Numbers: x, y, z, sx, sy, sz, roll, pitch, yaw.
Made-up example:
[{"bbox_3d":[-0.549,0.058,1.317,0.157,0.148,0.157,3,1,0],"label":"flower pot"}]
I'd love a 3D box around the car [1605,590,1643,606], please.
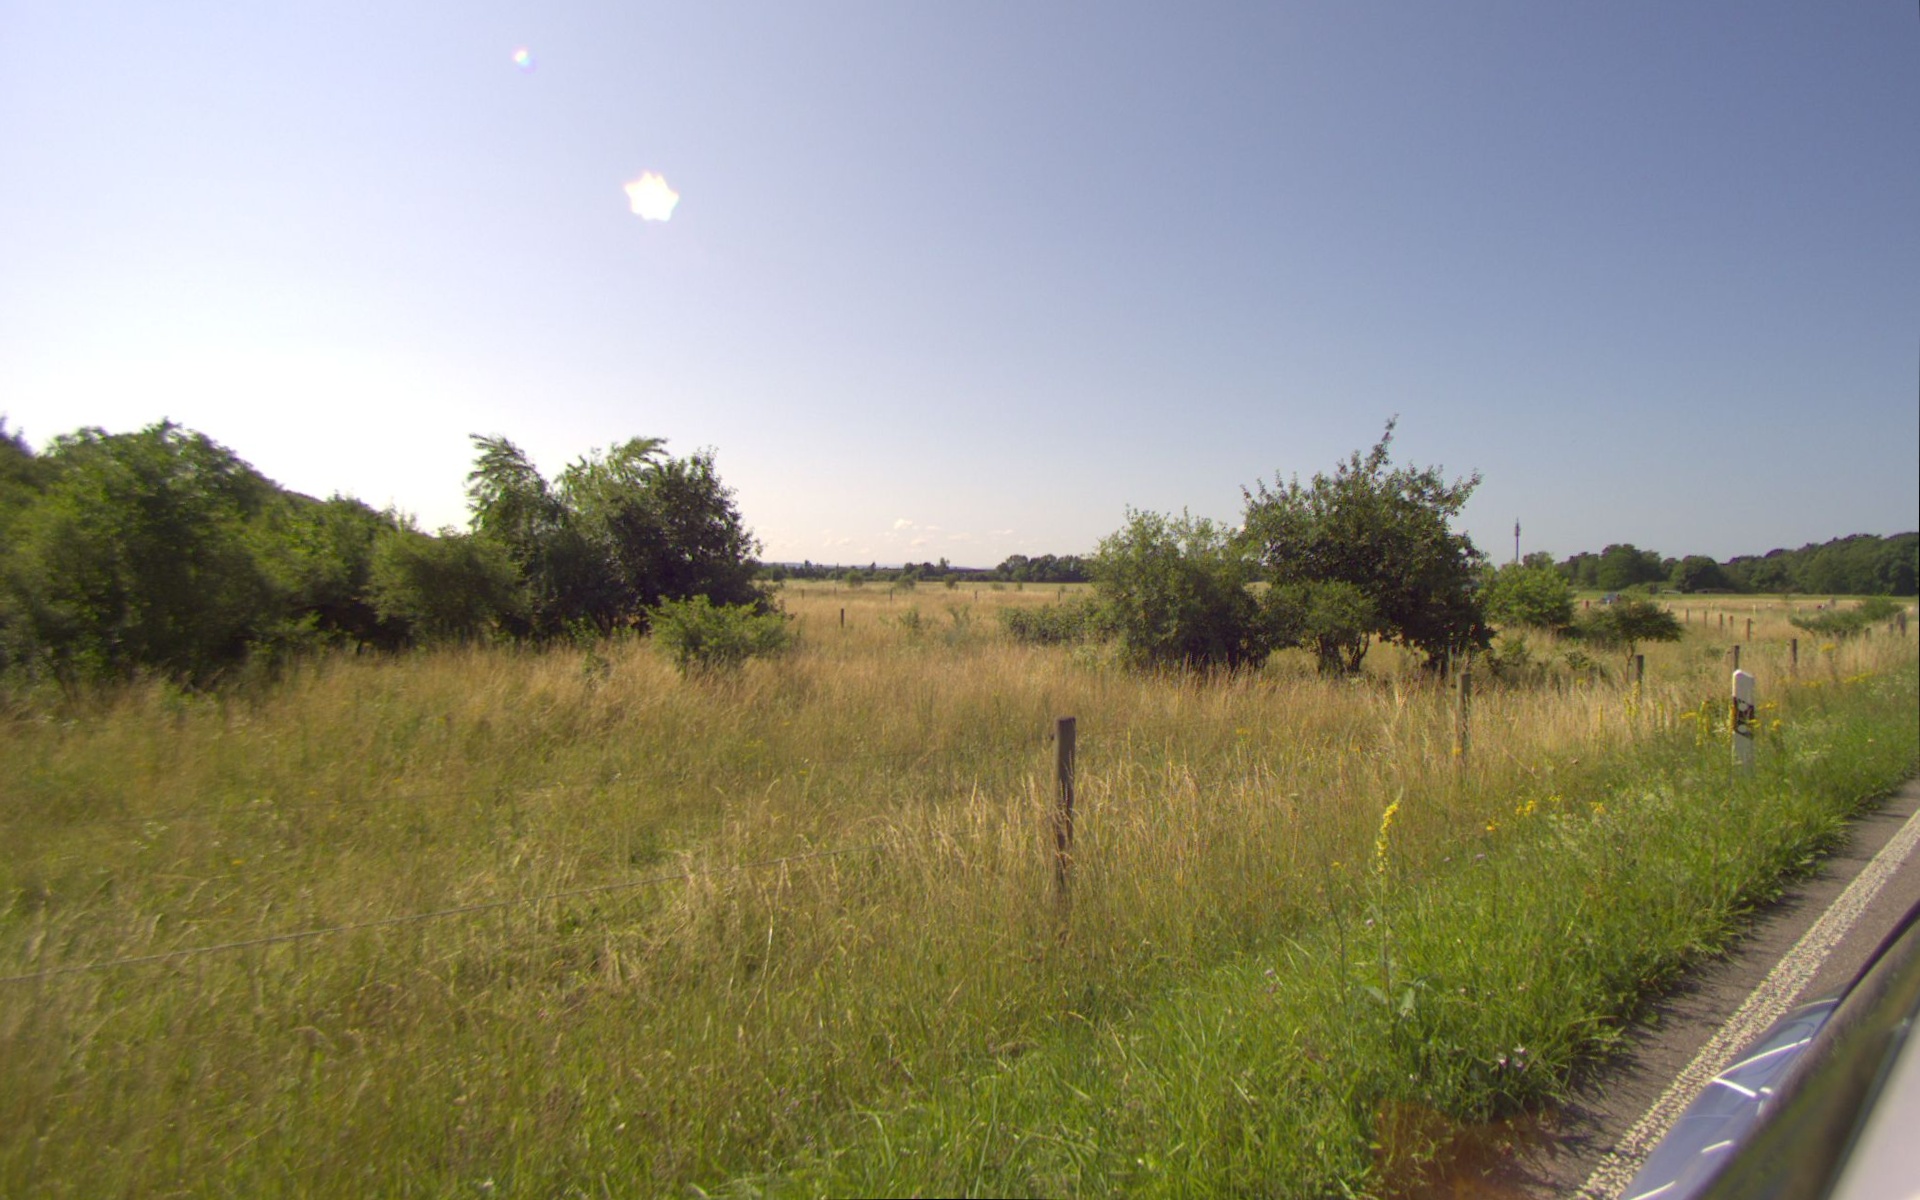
[{"bbox_3d":[72.637,-0.195,110.758,1.760,1.653,4.150,2,0,8],"label":"car"}]
